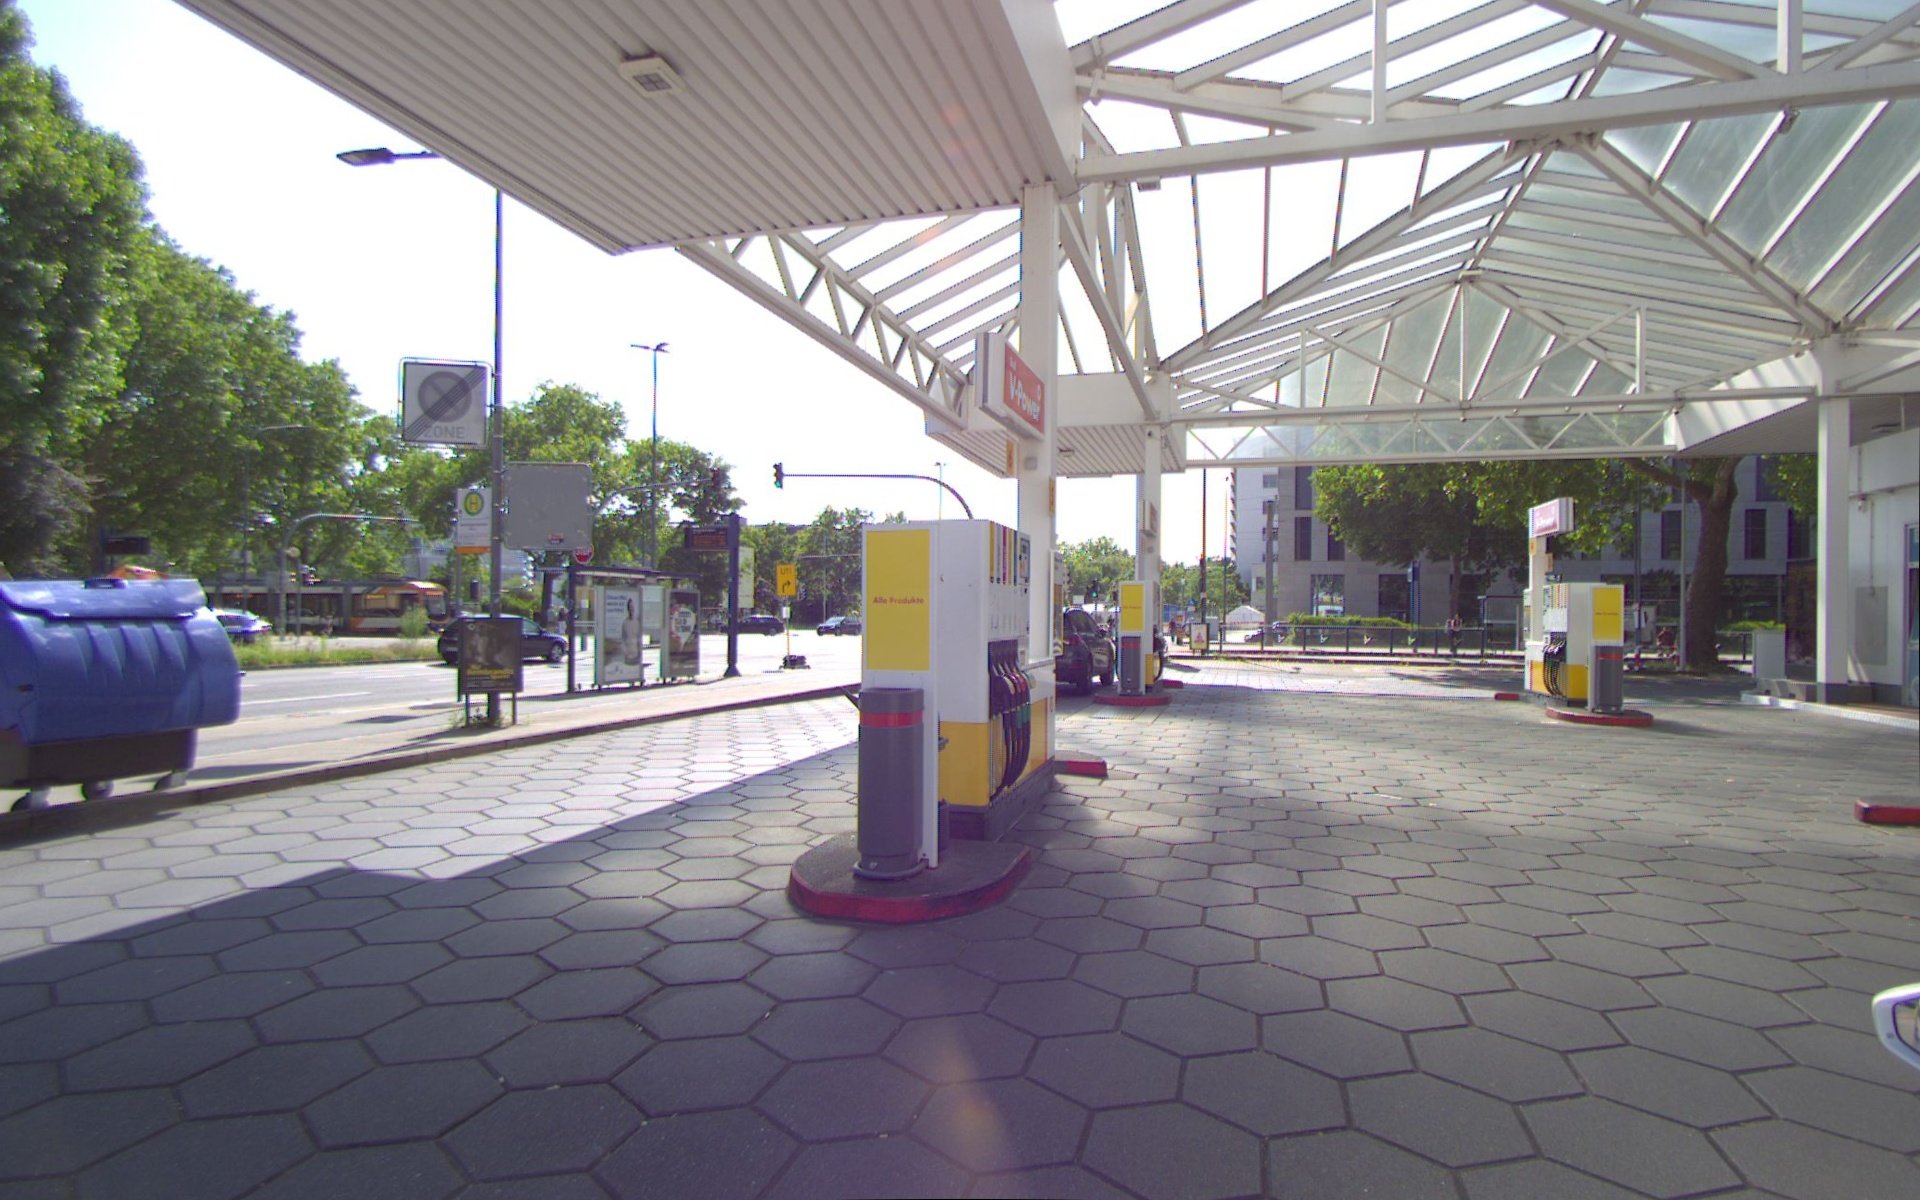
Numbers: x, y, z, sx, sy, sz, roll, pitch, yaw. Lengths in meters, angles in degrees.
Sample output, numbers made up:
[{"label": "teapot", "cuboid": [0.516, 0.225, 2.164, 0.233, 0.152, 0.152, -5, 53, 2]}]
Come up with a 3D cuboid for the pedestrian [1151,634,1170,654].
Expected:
[{"label": "pedestrian", "cuboid": [8.986, 1.973, 45.090, 0.684, 0.892, 0.500, 1, -1, -26]}]

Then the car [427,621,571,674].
[{"label": "car", "cuboid": [-13.585, 1.356, 29.850, 1.651, 1.385, 4.004, 2, -1, 16]}]

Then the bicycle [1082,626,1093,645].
[{"label": "bicycle", "cuboid": [7.479, 2.084, 58.987, 0.627, 1.096, 2.027, 0, -1, 7]}]

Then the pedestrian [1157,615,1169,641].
[{"label": "pedestrian", "cuboid": [12.252, 1.705, 60.605, 0.640, 1.561, 0.502, 0, -1, 25]}]

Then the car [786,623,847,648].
[{"label": "car", "cuboid": [-10.824, 2.665, 75.941, 4.181, 1.829, 1.975, 1, -3, -43]}]

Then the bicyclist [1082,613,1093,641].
[{"label": "bicyclist", "cuboid": [7.489, 1.597, 59.027, 0.627, 1.601, 1.174, 0, -1, 7]}]

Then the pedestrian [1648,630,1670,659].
[{"label": "pedestrian", "cuboid": [28.153, 1.791, 40.473, 0.618, 1.153, 0.524, 0, -1, 23]}]

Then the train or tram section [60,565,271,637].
[{"label": "train or tram section", "cuboid": [-53.335, 0.111, 67.276, 15.606, 4.549, 2.329, 0, -1, 16]}]

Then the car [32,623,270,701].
[{"label": "car", "cuboid": [-20.601, 1.511, 25.834, 1.961, 1.792, 4.391, 0, -1, 20]}]

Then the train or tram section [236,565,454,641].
[{"label": "train or tram section", "cuboid": [-38.768, 0.198, 63.145, 14.644, 4.549, 2.329, 0, -1, 16]}]

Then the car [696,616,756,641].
[{"label": "car", "cuboid": [-16.585, 1.986, 71.382, 3.925, 1.727, 1.998, 1, -1, -7]}]

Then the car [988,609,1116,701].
[{"label": "car", "cuboid": [1.850, 0.995, 19.063, 1.714, 1.552, 4.002, -1, -2, 16]}]

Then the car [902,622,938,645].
[{"label": "car", "cuboid": [-3.646, 3.054, 92.116, 1.960, 2.040, 4.449, -2, -2, 17]}]

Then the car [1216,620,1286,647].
[{"label": "car", "cuboid": [17.445, 2.009, 60.389, 3.919, 1.572, 1.704, 0, -1, 11]}]

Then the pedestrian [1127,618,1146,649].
[{"label": "pedestrian", "cuboid": [9.651, 1.816, 54.829, 0.499, 1.705, 0.924, 1, -1, -41]}]

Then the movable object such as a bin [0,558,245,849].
[{"label": "movable object such as a bin", "cuboid": [-5.946, 0.647, 6.745, 1.316, 1.710, 1.338, -2, -2, 17]}]

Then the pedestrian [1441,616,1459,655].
[{"label": "pedestrian", "cuboid": [20.733, 1.476, 42.481, 0.574, 1.613, 0.670, 0, 1, 16]}]

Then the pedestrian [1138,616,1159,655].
[{"label": "pedestrian", "cuboid": [8.391, 1.567, 44.657, 0.769, 1.705, 0.500, 1, -1, -27]}]

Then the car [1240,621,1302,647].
[{"label": "car", "cuboid": [19.574, 2.133, 63.345, 3.619, 1.572, 1.593, 0, -1, 11]}]

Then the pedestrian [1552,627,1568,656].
[{"label": "pedestrian", "cuboid": [24.716, 1.713, 41.409, 0.491, 1.153, 0.524, 0, -1, 22]}]
